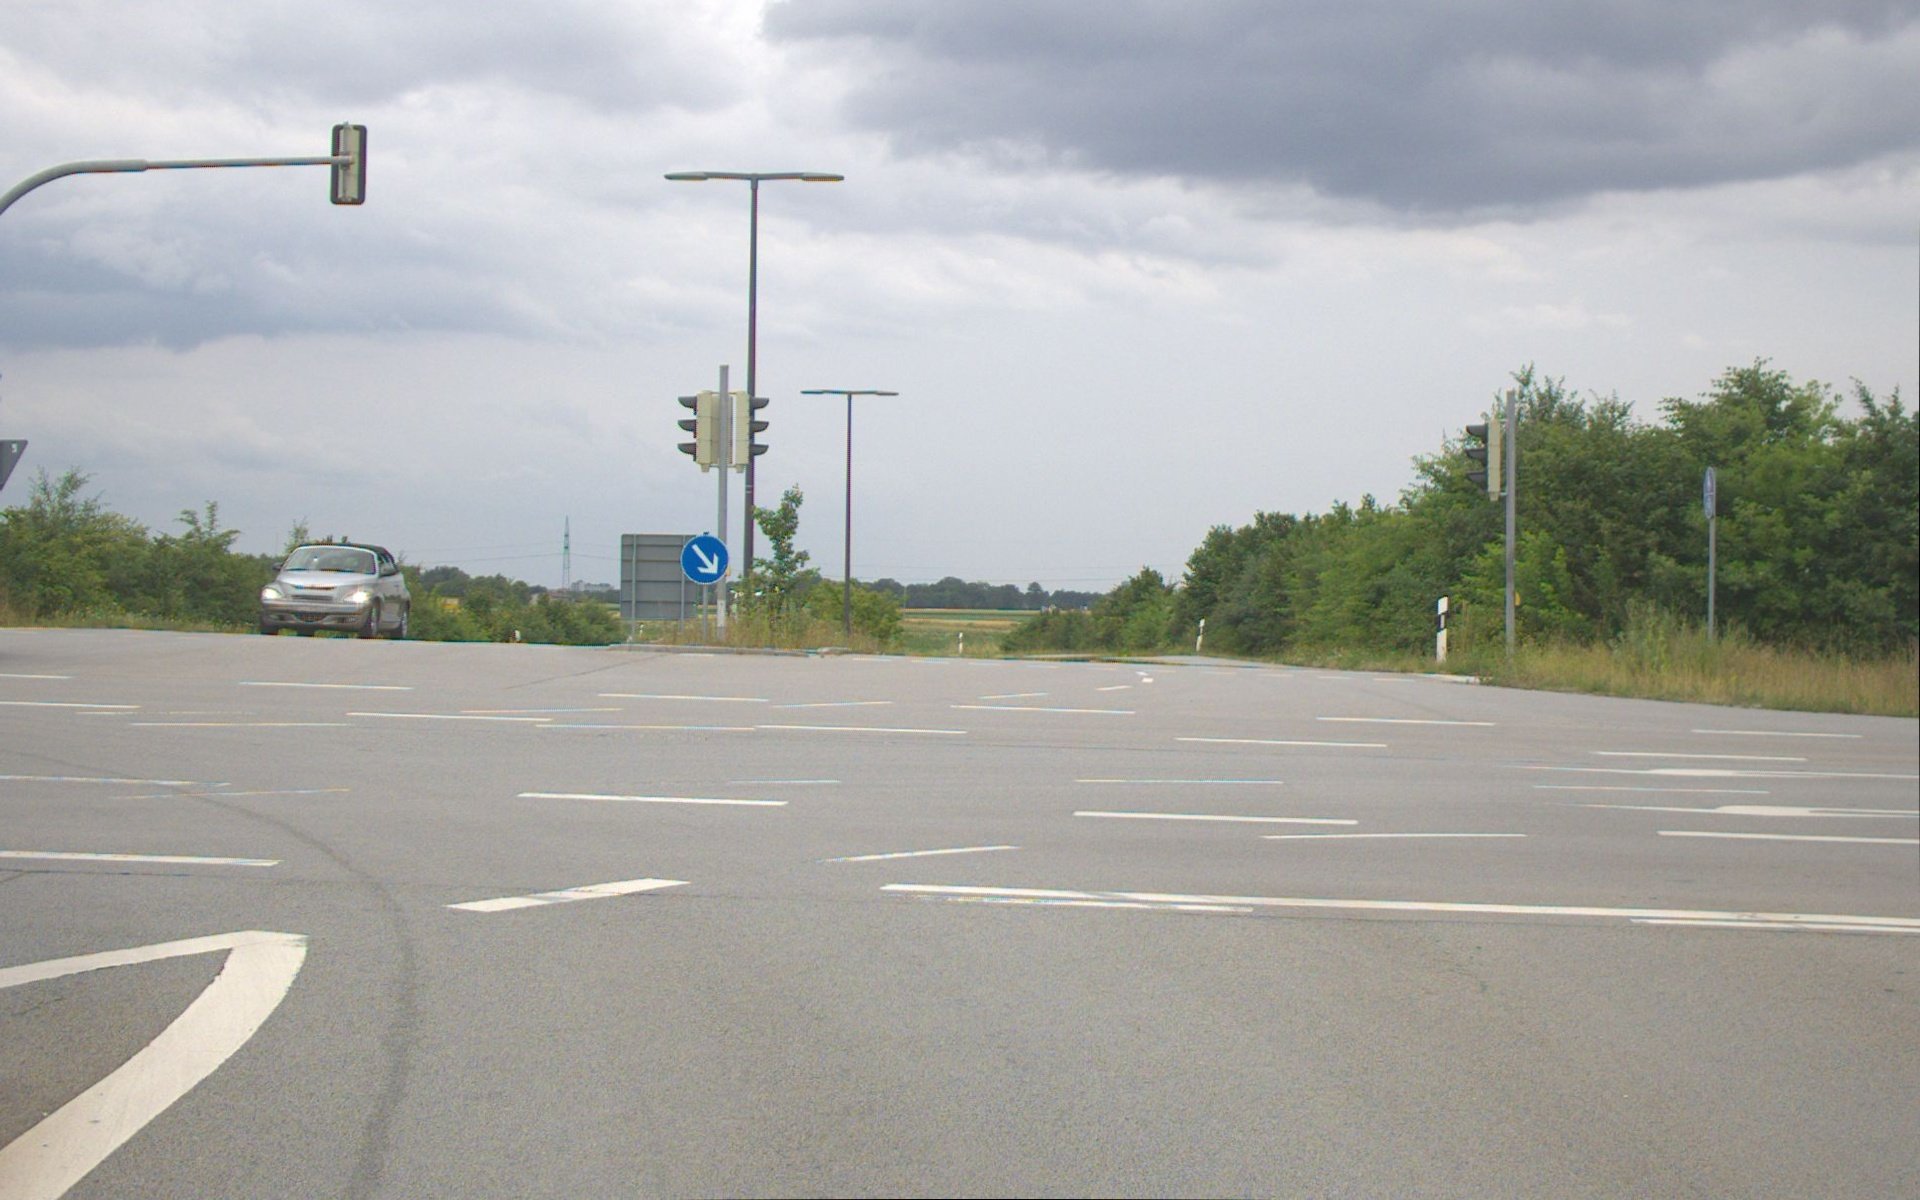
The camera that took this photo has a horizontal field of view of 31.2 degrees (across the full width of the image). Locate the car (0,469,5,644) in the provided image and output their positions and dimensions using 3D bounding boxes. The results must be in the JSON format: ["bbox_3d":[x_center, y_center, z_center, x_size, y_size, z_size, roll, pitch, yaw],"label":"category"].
[{"bbox_3d":[-10.233,-0.407,31.069,1.993,1.688,4.455,1,1,-1],"label":"car"}]

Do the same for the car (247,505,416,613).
[{"bbox_3d":[-9.536,-0.660,52.465,1.810,1.515,4.243,2,2,-1],"label":"car"}]
